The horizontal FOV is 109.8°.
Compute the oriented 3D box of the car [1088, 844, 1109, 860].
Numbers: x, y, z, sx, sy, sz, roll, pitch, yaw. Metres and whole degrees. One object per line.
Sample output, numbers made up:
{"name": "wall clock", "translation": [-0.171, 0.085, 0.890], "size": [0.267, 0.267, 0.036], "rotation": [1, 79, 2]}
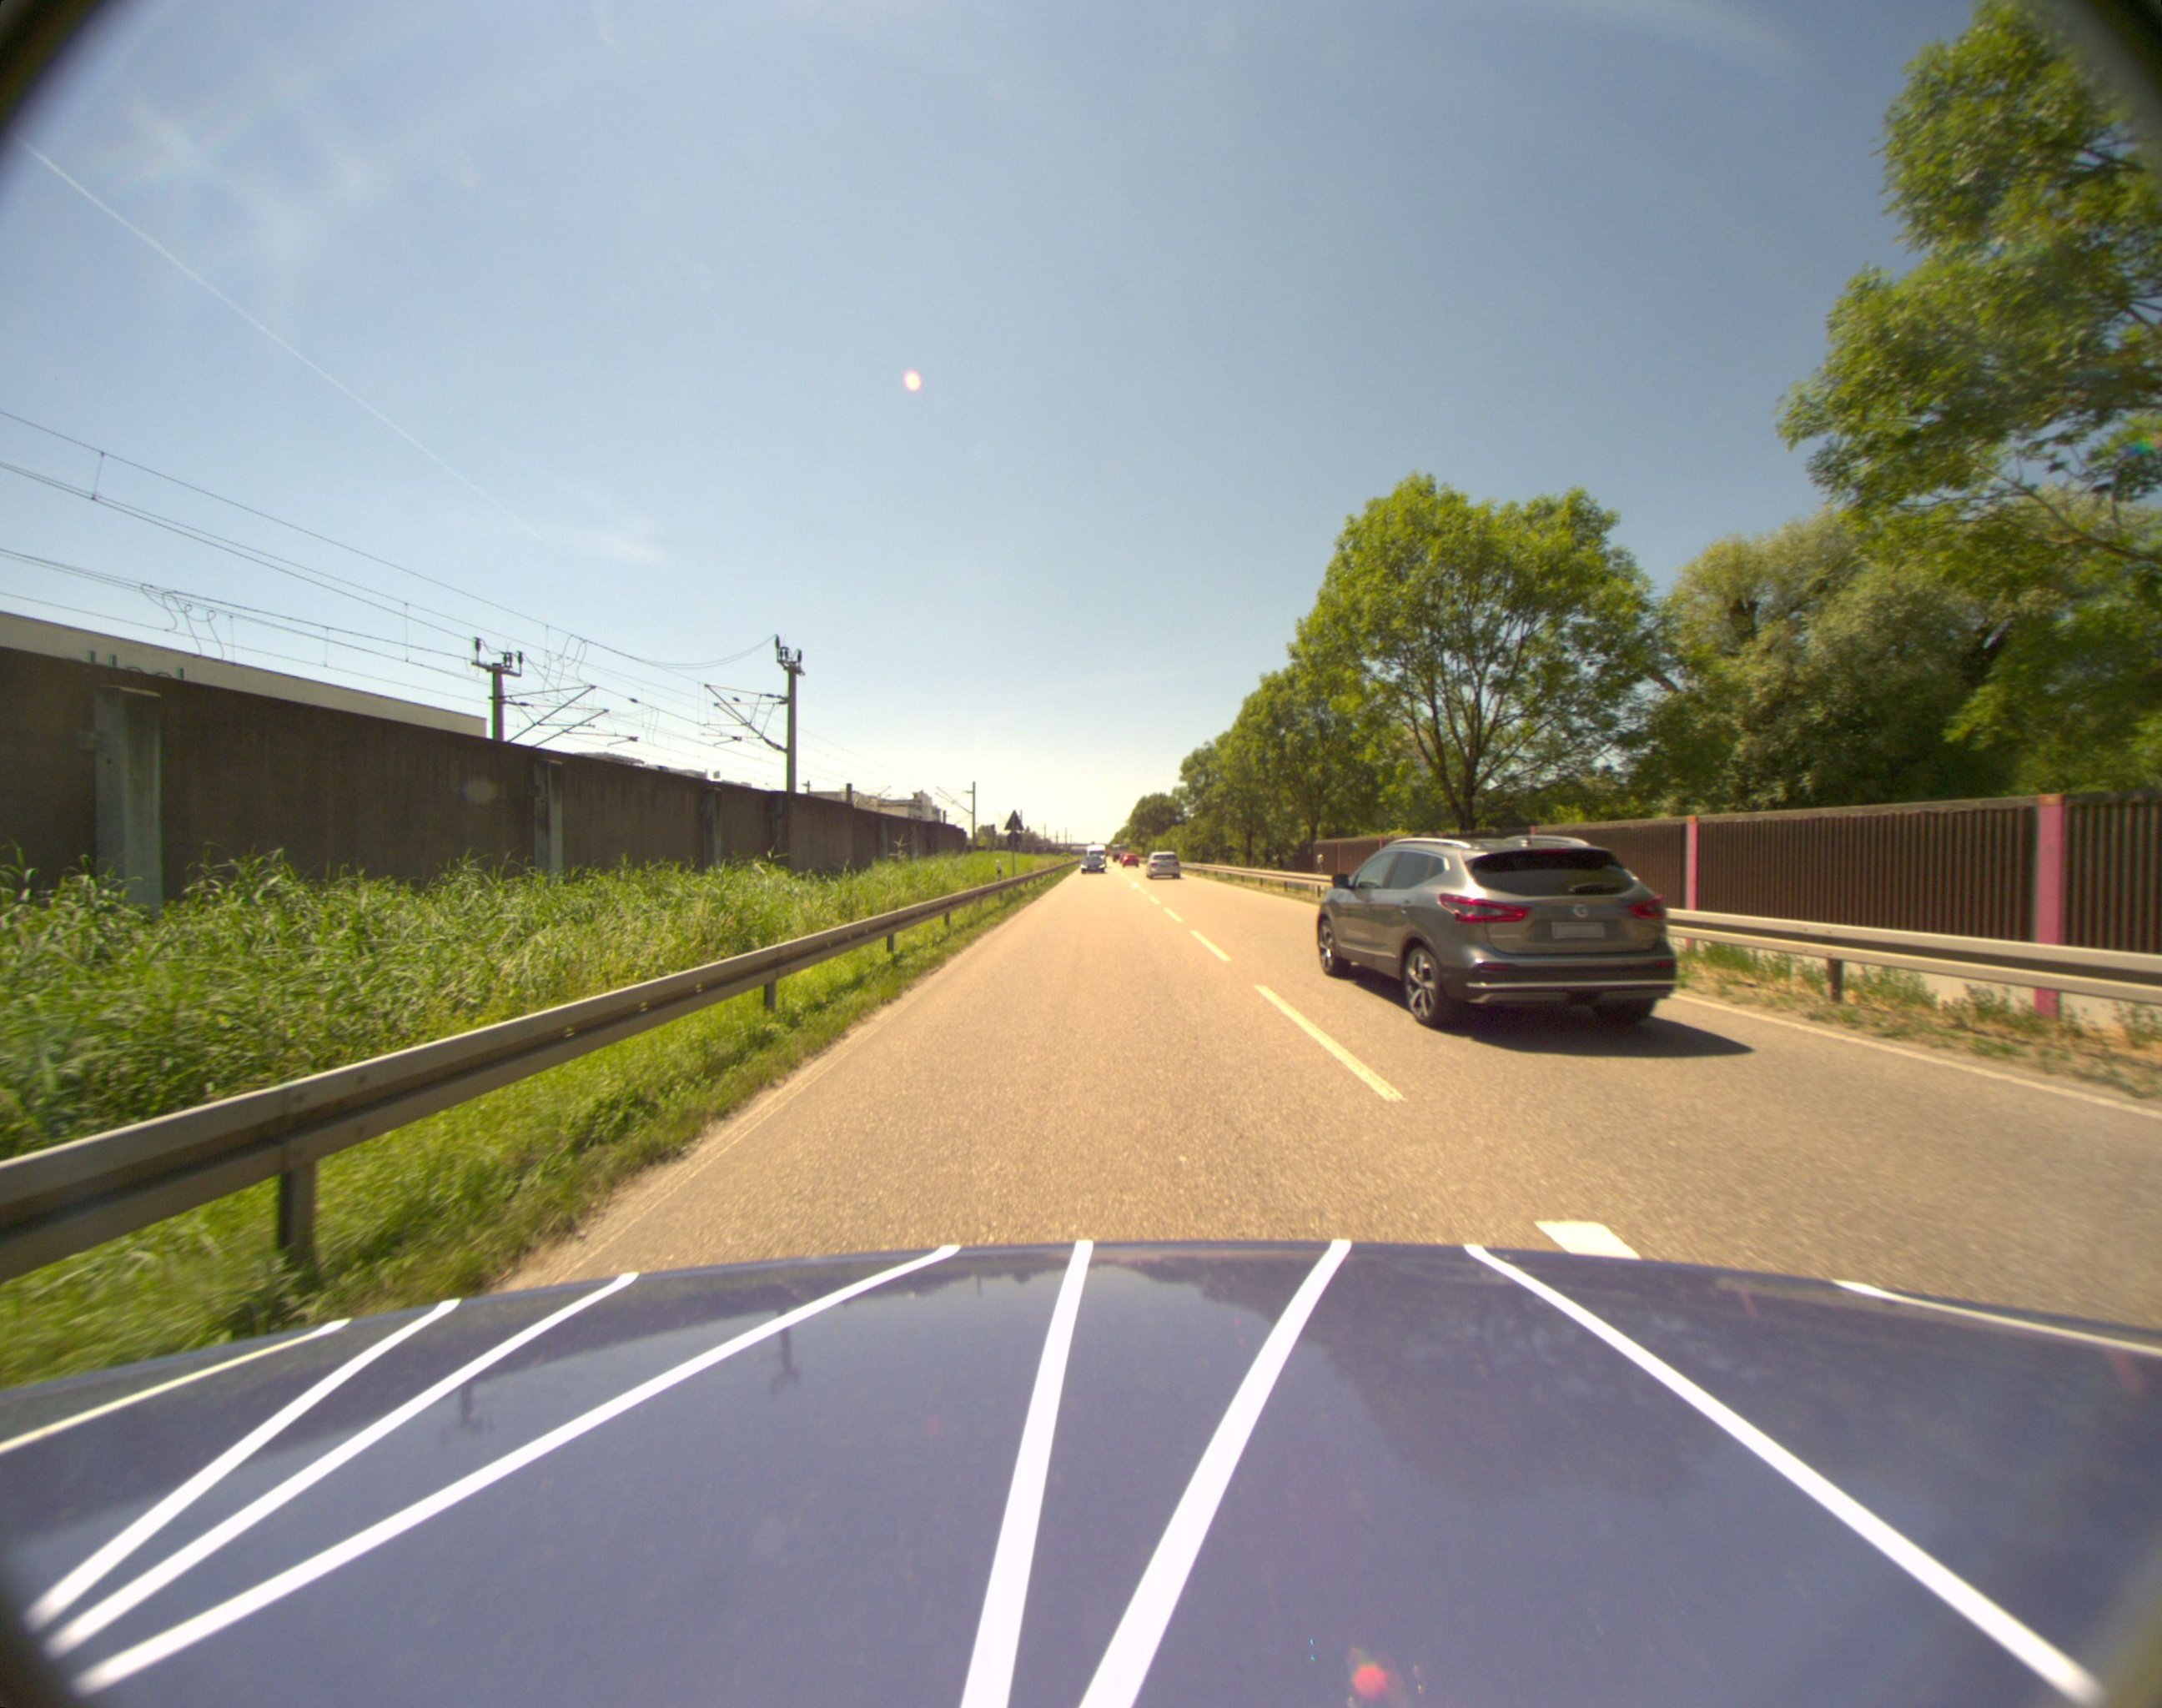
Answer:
{"name": "car", "translation": [1.947, -0.214, 83.101], "size": [2.161, 1.701, 4.493], "rotation": [-2, 0, 1]}

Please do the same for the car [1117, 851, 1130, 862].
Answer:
{"name": "car", "translation": [6.340, 0.304, 113.164], "size": [1.657, 1.543, 4.000], "rotation": [-1, 0, 1]}

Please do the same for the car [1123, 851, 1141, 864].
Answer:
{"name": "car", "translation": [5.513, 0.363, 82.517], "size": [1.794, 1.413, 4.000], "rotation": [-1, 0, 1]}

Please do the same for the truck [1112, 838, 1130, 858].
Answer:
{"name": "truck", "translation": [7.106, -1.089, 135.196], "size": [2.790, 3.385, 7.989], "rotation": [-2, 0, 1]}

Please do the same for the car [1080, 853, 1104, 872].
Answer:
{"name": "car", "translation": [0.864, 0.652, 57.606], "size": [1.758, 1.313, 4.000], "rotation": [-2, 0, 1]}

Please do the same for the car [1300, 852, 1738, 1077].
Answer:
{"name": "car", "translation": [3.658, 0.757, 7.444], "size": [1.794, 1.517, 4.390], "rotation": [-1, 0, 1]}

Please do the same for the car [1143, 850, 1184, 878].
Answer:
{"name": "car", "translation": [4.763, 0.539, 44.400], "size": [1.794, 1.517, 4.389], "rotation": [-1, 0, -2]}
